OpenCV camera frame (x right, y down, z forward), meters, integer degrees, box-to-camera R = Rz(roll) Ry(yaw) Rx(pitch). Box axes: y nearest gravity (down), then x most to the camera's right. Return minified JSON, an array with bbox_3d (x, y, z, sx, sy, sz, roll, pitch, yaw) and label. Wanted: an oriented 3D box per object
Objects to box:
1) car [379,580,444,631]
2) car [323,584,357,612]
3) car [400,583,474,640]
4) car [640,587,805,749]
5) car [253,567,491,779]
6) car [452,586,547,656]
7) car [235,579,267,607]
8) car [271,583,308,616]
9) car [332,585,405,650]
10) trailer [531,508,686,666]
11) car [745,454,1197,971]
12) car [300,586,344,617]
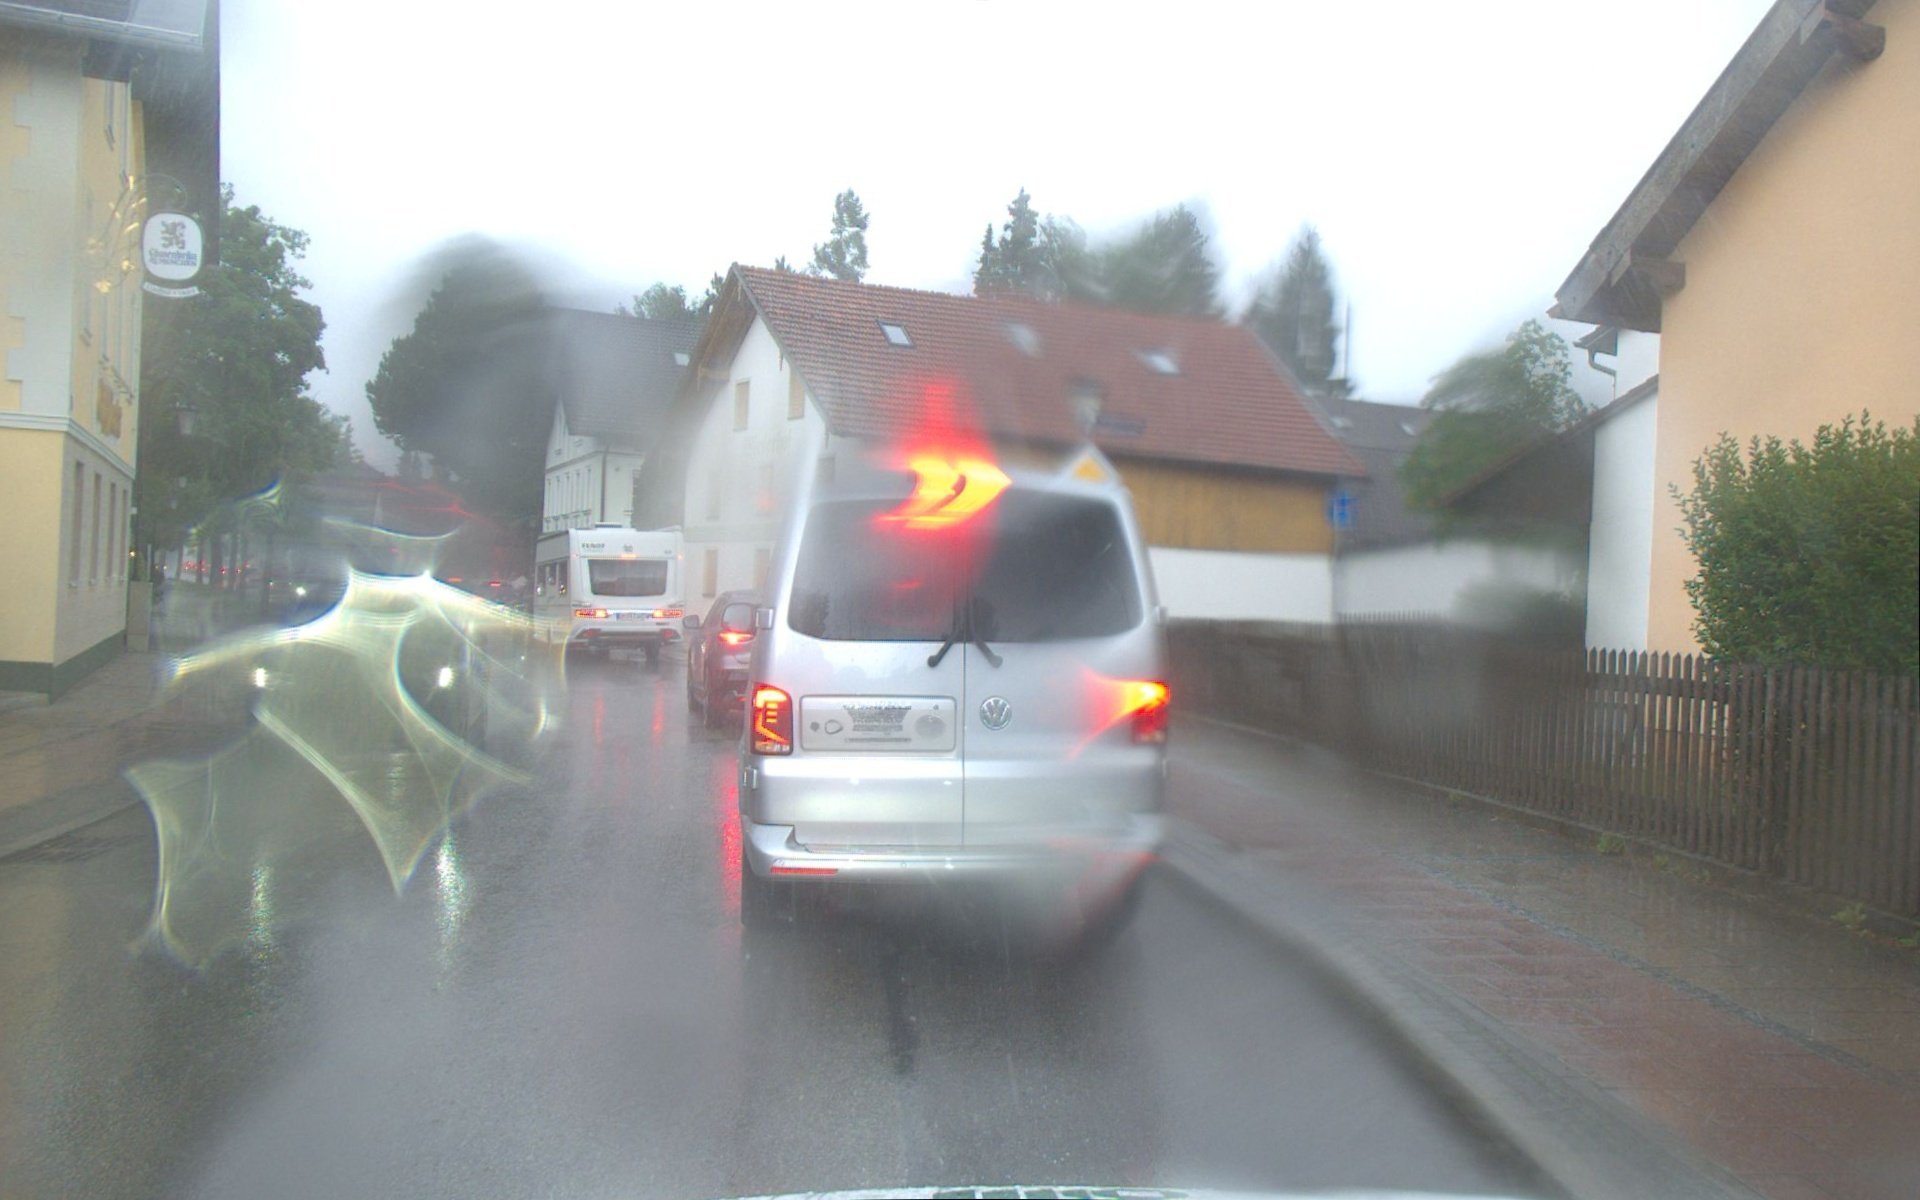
[{"bbox_3d":[-23.556,0.200,70.909,2.140,1.932,4.978,3,0,-24],"label":"car"},{"bbox_3d":[-48.492,-0.167,129.333,2.140,1.932,4.978,3,0,-24],"label":"car"},{"bbox_3d":[-20.076,0.417,63.380,2.140,1.932,4.978,3,0,-24],"label":"car"},{"bbox_3d":[-2.804,0.681,19.508,1.677,1.611,4.676,-1,1,-8],"label":"car"},{"bbox_3d":[-5.097,0.573,14.721,1.559,1.638,3.527,0,0,-13],"label":"car"},{"bbox_3d":[-14.474,0.624,51.819,2.140,1.932,4.978,3,0,-24],"label":"car"},{"bbox_3d":[-47.579,-0.496,111.110,1.837,1.788,4.453,-2,1,-22],"label":"car"},{"bbox_3d":[-38.566,-0.053,95.148,1.837,1.788,4.453,-2,1,-22],"label":"car"},{"bbox_3d":[-19.198,0.556,53.565,1.827,2.006,4.665,0,0,-25],"label":"car"},{"bbox_3d":[-7.389,-0.250,34.222,2.238,2.955,6.094,1,0,-21],"label":"trailer"},{"bbox_3d":[0.019,0.441,8.966,1.740,1.997,5.073,0,0,-1],"label":"car"},{"bbox_3d":[-29.748,0.043,77.070,1.836,1.382,4.454,0,1,-22],"label":"car"}]
